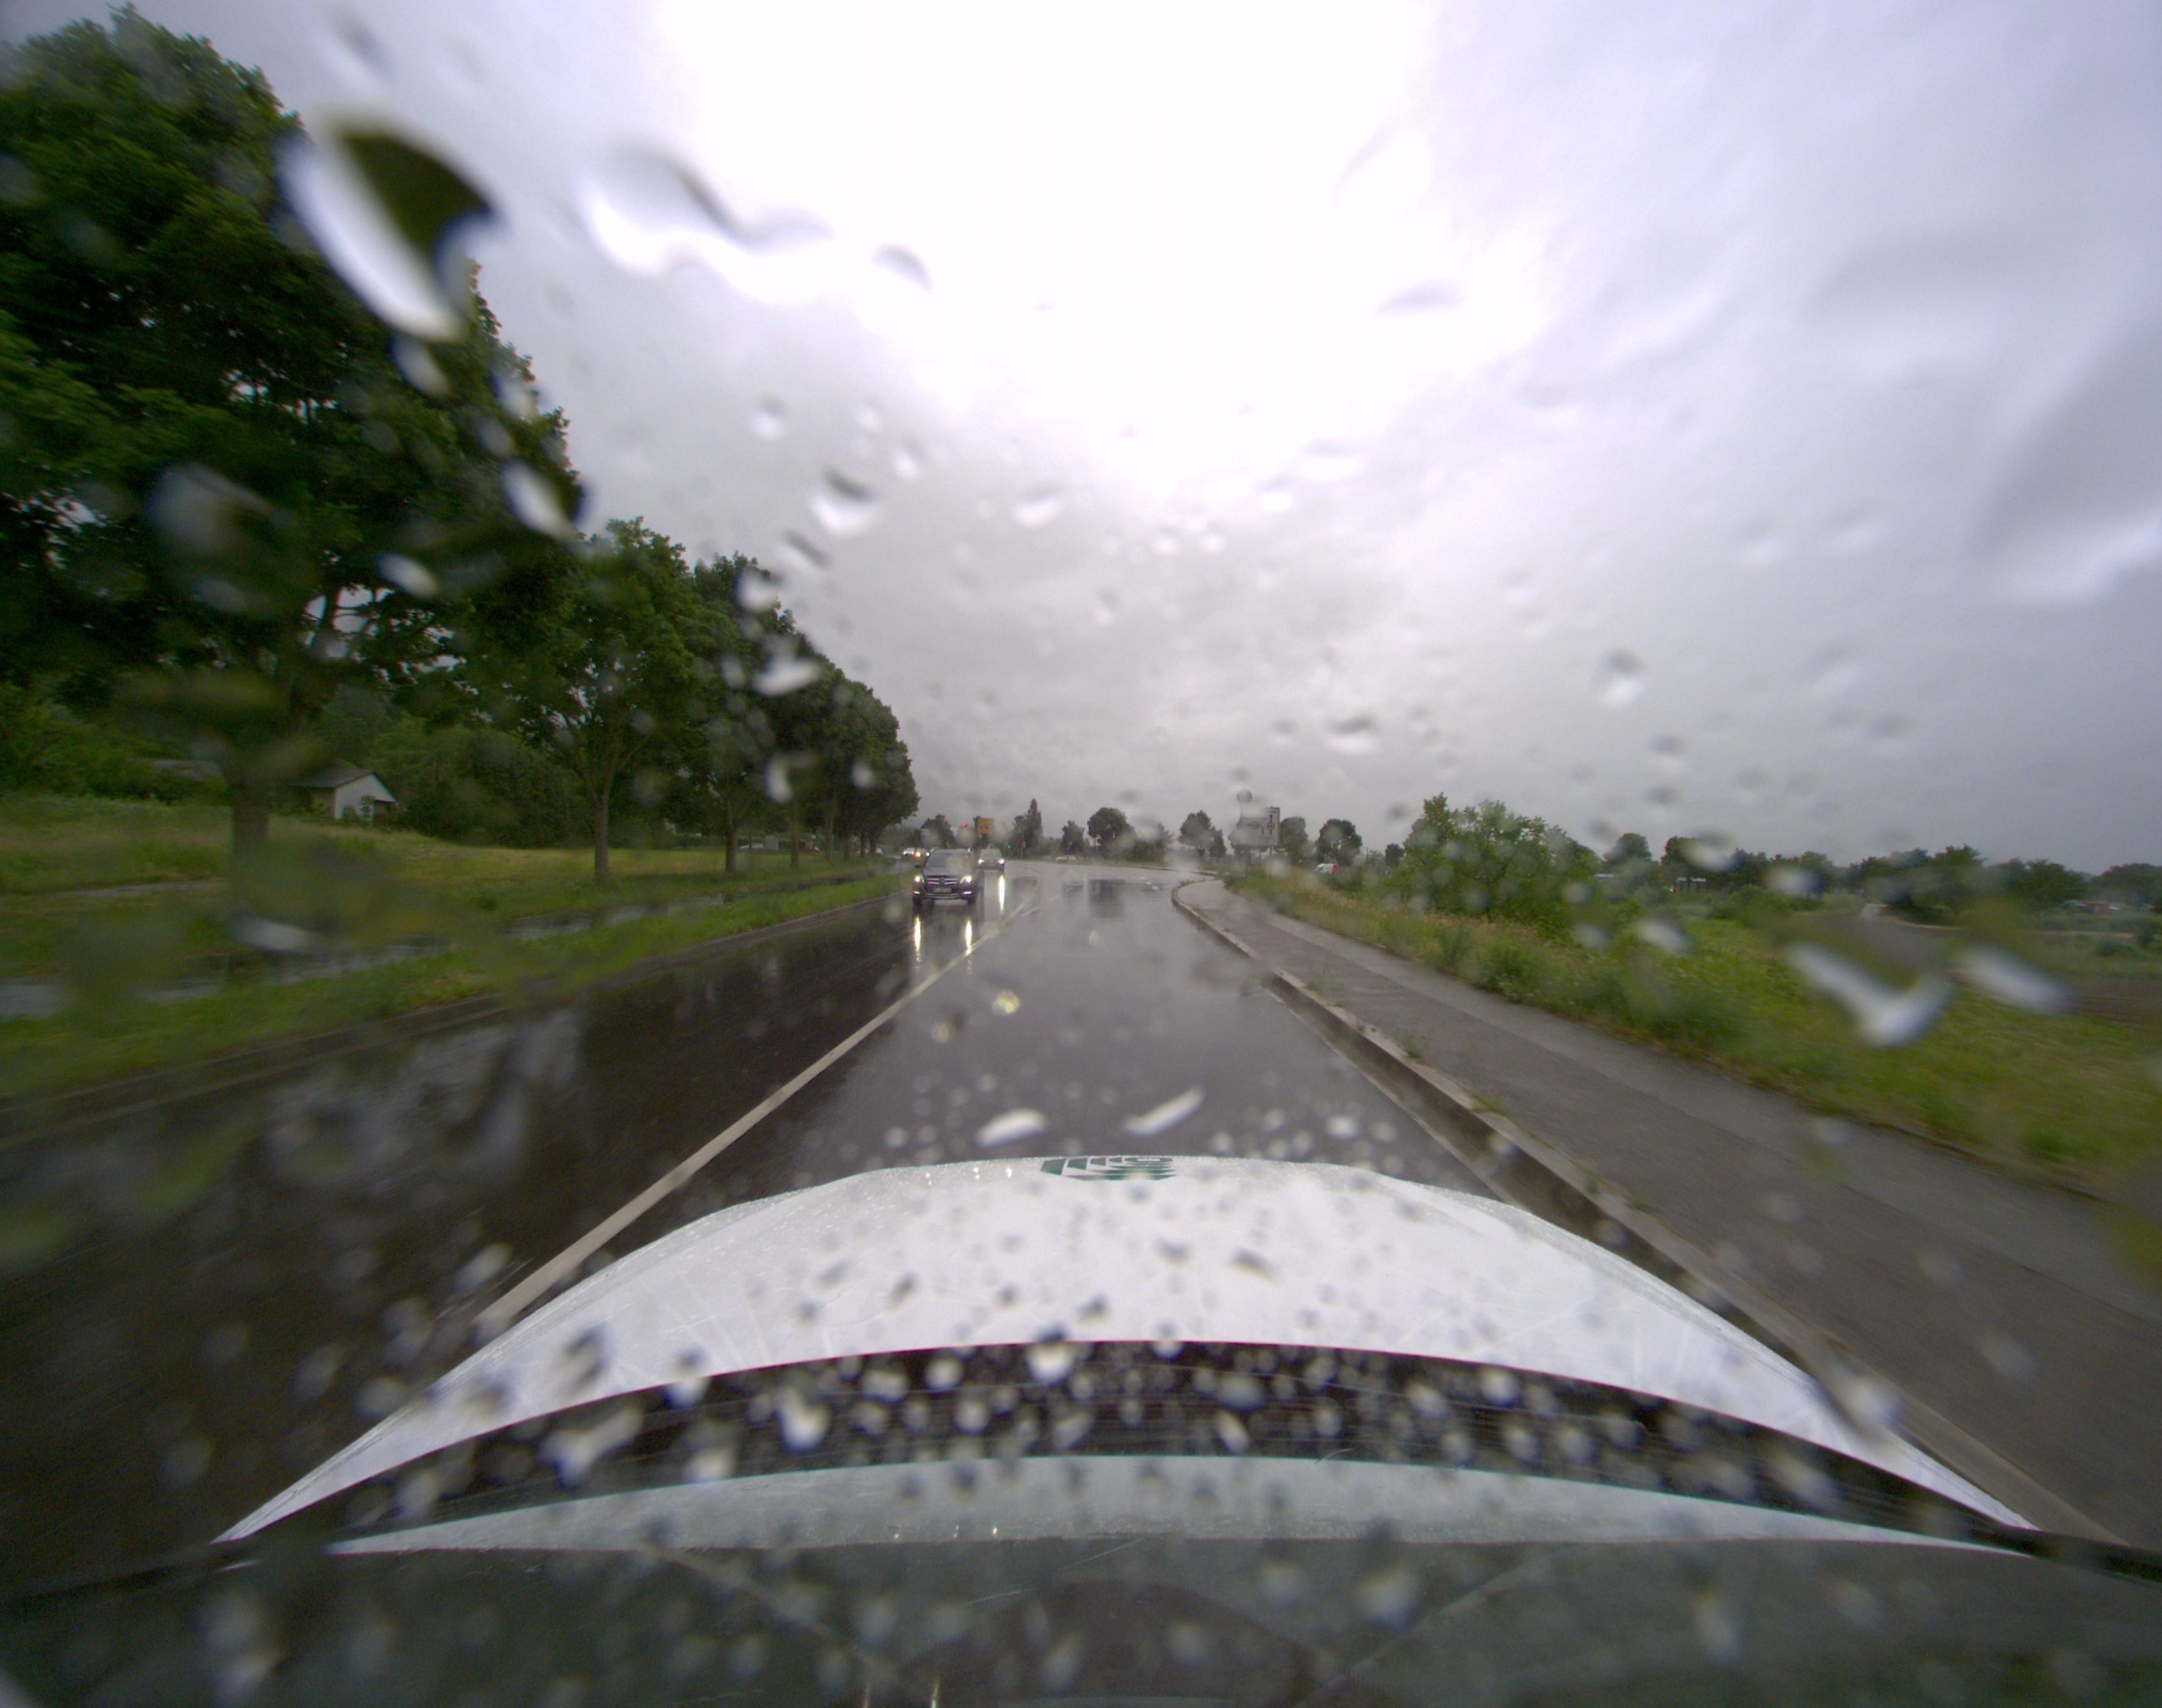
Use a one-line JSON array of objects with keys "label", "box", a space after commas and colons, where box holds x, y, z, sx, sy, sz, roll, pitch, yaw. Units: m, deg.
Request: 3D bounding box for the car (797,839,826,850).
[{"label": "car", "box": [-45.001, -1.563, 136.037, 4.378, 1.579, 1.725, 2, 0, -12]}]

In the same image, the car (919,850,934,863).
[{"label": "car", "box": [-20.977, 0.354, 110.409, 1.885, 1.587, 4.103, 3, -1, -11]}]

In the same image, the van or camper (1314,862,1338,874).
[{"label": "van or camper", "box": [52.338, 2.982, 174.203, 4.647, 2.355, 2.024, 4, 0, 14]}]

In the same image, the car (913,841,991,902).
[{"label": "car", "box": [-3.817, 0.478, 24.787, 1.736, 1.704, 4.221, 0, 0, -1]}]

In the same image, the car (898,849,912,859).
[{"label": "car", "box": [-28.935, 0.006, 133.746, 1.883, 1.573, 4.619, 0, 0, -16]}]

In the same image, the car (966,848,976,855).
[{"label": "car", "box": [-21.889, -0.538, 162.339, 1.737, 1.487, 4.002, 0, 0, -6]}]

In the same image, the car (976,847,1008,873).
[{"label": "car", "box": [-6.218, 0.408, 57.288, 1.919, 1.743, 4.286, 0, 0, -1]}]
